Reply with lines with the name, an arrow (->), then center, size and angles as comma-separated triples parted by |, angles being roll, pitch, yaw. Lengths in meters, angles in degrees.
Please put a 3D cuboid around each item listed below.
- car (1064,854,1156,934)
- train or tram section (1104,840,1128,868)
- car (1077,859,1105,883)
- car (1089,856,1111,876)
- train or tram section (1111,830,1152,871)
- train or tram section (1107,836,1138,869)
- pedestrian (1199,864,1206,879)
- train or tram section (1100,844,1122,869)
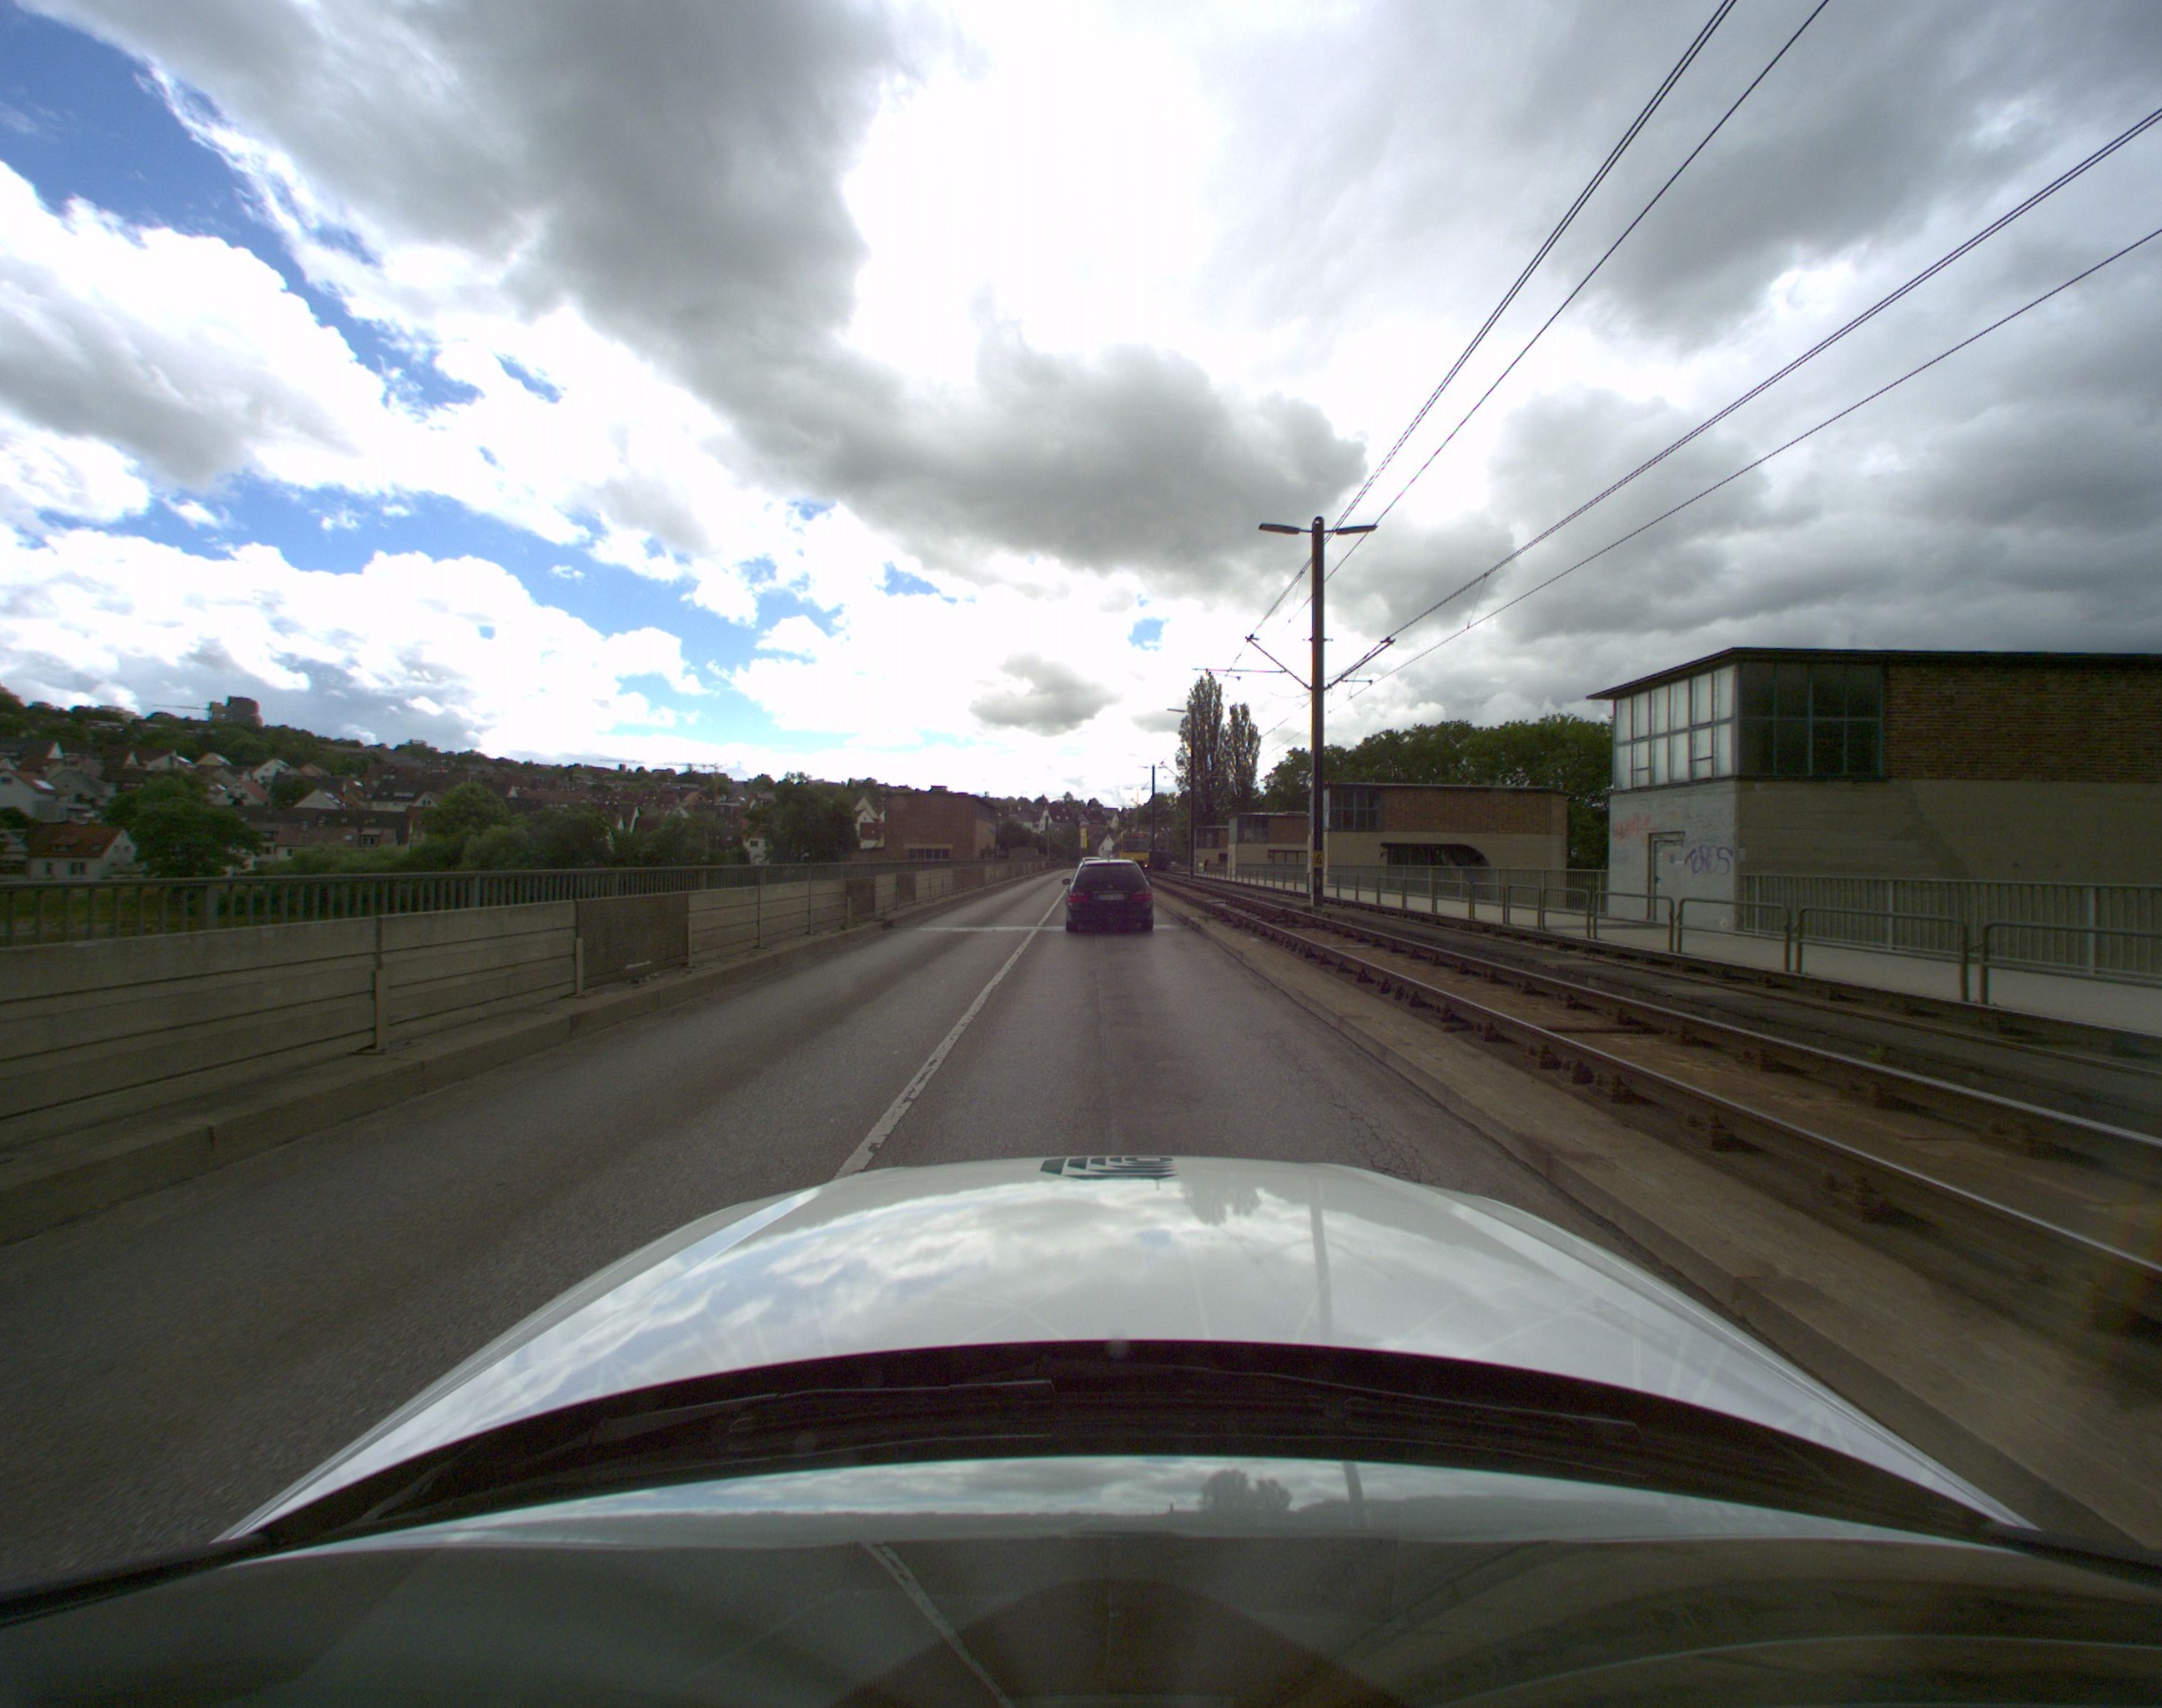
car -> 0.657, 0.780, 17.943 | 1.752, 1.516, 4.445 | -1, 0, 2
train or tram section -> 4.939, 0.225, 118.699 | 2.775, 3.656, 19.888 | -2, -1, 0
car -> 0.619, 1.105, 54.733 | 1.765, 1.555, 4.238 | 0, 0, -1
car -> 1.673, 0.999, 69.725 | 1.786, 1.555, 4.387 | -2, 0, 2
train or tram section -> 4.786, -0.244, 80.831 | 2.873, 3.509, 18.664 | -1, -1, 0
train or tram section -> 4.861, -0.044, 99.459 | 2.820, 3.580, 18.664 | -1, -1, 0
pedestrian -> 13.100, 1.840, 87.815 | 0.575, 1.610, 0.613 | 0, -1, 1
train or tram section -> 4.969, 0.570, 138.591 | 2.784, 3.764, 19.885 | 1, -1, 0
